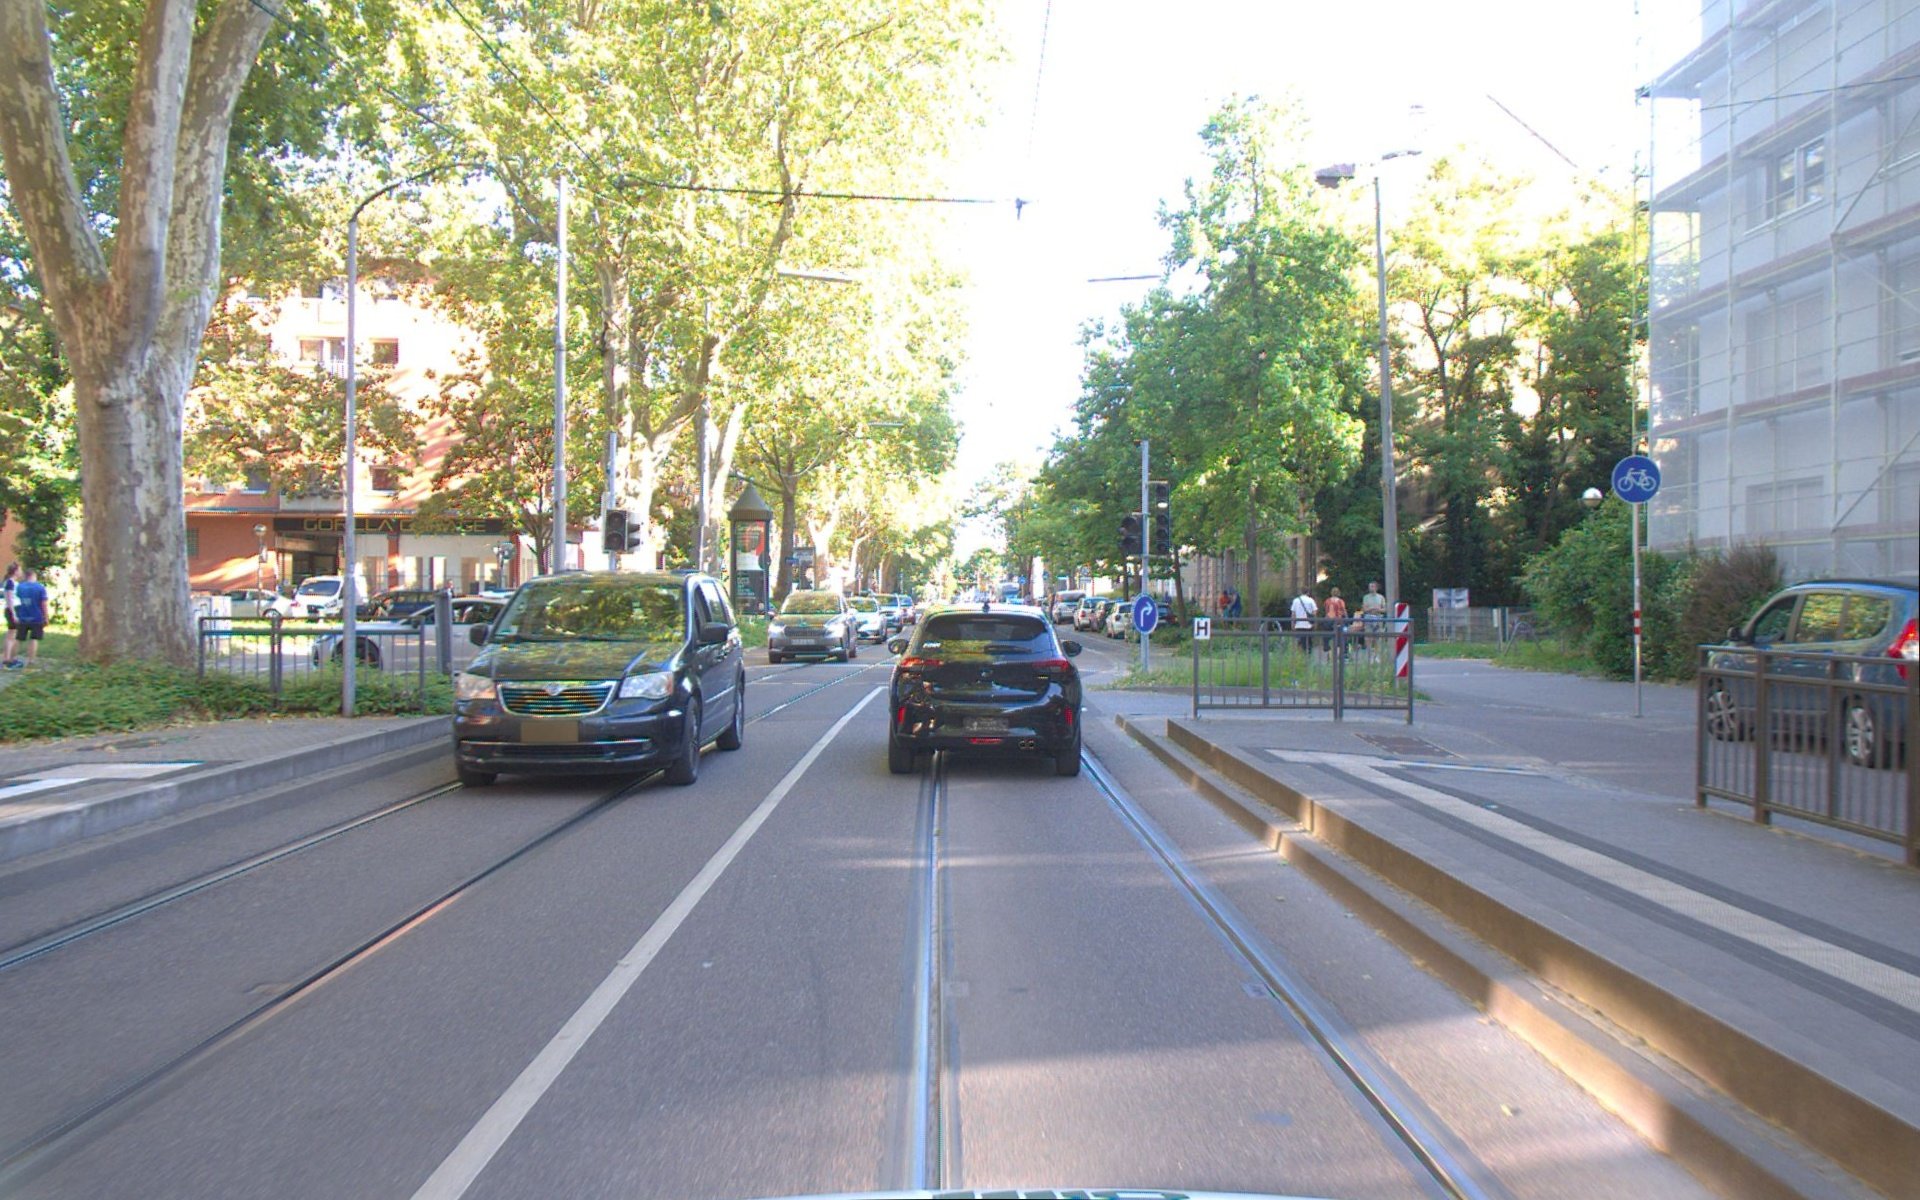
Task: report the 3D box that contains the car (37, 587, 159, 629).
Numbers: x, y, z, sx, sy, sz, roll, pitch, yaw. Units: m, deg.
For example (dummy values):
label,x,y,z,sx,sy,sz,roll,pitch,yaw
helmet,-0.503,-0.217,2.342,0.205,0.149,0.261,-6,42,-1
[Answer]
label,x,y,z,sx,sy,sz,roll,pitch,yaw
car,-31.996,0.294,61.463,3.636,1.475,1.686,1,0,-6

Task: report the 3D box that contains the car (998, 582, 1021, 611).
label,x,y,z,sx,sy,sz,roll,pitch,yaw
car,4.928,-0.403,164.402,2.043,2.820,4.697,-1,1,-1

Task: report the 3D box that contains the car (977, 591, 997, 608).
label,x,y,z,sx,sy,sz,roll,pitch,yaw
car,3.207,-0.058,199.754,2.208,1.873,5.530,-1,0,-1

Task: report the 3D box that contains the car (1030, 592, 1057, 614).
label,x,y,z,sx,sy,sz,roll,pitch,yaw
car,6.103,0.215,120.948,1.668,1.448,3.977,-3,0,-1

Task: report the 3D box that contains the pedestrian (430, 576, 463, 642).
label,x,y,z,sx,sy,sz,roll,pitch,yaw
pedestrian,-14.605,0.251,47.026,0.630,1.841,0.752,1,0,5

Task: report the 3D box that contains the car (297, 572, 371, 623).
label,x,y,z,sx,sy,sz,roll,pitch,yaw
car,-26.315,-0.121,69.720,1.957,2.038,4.909,1,0,-10

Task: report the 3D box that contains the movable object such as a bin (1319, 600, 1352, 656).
label,x,y,z,sx,sy,sz,roll,pitch,yaw
movable object such as a bin,8.505,0.631,37.512,0.625,1.223,1.306,-2,0,10

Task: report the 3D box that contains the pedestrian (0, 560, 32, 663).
label,x,y,z,sx,sy,sz,roll,pitch,yaw
pedestrian,-16.125,0.193,28.144,0.526,1.735,0.586,1,0,-32

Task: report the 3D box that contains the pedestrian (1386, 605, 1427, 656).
label,x,y,z,sx,sy,sz,roll,pitch,yaw
pedestrian,10.179,0.697,37.729,0.662,1.138,0.658,1,0,-11

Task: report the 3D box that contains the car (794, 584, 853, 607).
label,x,y,z,sx,sy,sz,roll,pitch,yaw
car,-9.939,-0.336,120.790,4.214,1.635,1.925,1,0,-4

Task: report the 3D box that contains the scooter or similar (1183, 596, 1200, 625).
label,x,y,z,sx,sy,sz,roll,pitch,yaw
scooter or similar,10.337,0.458,73.828,0.564,1.268,1.335,1,0,0

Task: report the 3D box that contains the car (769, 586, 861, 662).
label,x,y,z,sx,sy,sz,roll,pitch,yaw
car,-3.371,0.534,39.179,1.869,1.666,4.319,-1,0,-1

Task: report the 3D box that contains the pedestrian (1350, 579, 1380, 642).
label,x,y,z,sx,sy,sz,roll,pitch,yaw
pedestrian,11.455,0.303,46.749,0.607,1.756,0.552,1,0,-15

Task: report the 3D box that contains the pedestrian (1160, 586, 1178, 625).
label,x,y,z,sx,sy,sz,roll,pitch,yaw
pedestrian,10.064,0.261,79.600,0.711,1.824,0.600,1,0,23

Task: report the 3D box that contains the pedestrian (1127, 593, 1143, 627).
label,x,y,z,sx,sy,sz,roll,pitch,yaw
pedestrian,8.805,0.508,83.358,0.711,1.722,0.957,1,0,1

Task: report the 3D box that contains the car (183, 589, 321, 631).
label,x,y,z,sx,sy,sz,roll,pitch,yaw
car,-26.444,0.361,61.915,4.385,1.475,1.820,1,0,-9

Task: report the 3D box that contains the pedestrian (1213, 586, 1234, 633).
label,x,y,z,sx,sy,sz,roll,pitch,yaw
pedestrian,10.224,0.363,64.232,0.587,1.824,0.727,1,0,27

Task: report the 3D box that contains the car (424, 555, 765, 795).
label,x,y,z,sx,sy,sz,roll,pitch,yaw
car,-3.008,0.561,14.832,1.953,1.746,5.142,1,0,-1

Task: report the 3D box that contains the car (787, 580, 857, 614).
label,x,y,z,sx,sy,sz,roll,pitch,yaw
car,-9.811,-0.221,117.820,4.934,2.299,2.084,1,0,-4

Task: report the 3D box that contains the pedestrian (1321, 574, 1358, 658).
label,x,y,z,sx,sy,sz,roll,pitch,yaw
pedestrian,8.354,0.346,36.447,0.710,1.824,0.969,-2,0,10

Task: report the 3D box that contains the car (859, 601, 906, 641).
label,x,y,z,sx,sy,sz,roll,pitch,yaw
car,-3.236,0.868,69.704,1.778,1.596,4.115,-1,0,-1

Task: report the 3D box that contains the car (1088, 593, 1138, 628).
label,x,y,z,sx,sy,sz,roll,pitch,yaw
car,7.066,0.482,76.886,1.845,1.492,4.593,-2,0,0

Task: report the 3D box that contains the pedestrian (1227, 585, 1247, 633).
label,x,y,z,sx,sy,sz,roll,pitch,yaw
pedestrian,10.635,0.349,63.524,0.586,1.824,0.728,1,0,-3

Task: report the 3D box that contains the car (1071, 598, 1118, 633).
label,x,y,z,sx,sy,sz,roll,pitch,yaw
car,6.621,0.736,81.588,1.846,1.595,4.241,-2,0,-1

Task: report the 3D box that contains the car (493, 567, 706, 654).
label,x,y,z,sx,sy,sz,roll,pitch,yaw
car,-8.239,0.239,38.154,4.479,1.866,1.938,1,0,-2

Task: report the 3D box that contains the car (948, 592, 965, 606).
label,x,y,z,sx,sy,sz,roll,pitch,yaw
car,-0.451,-0.099,228.237,2.208,1.873,5.530,-1,0,-1

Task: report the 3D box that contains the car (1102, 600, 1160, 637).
label,x,y,z,sx,sy,sz,roll,pitch,yaw
car,6.938,0.734,67.582,1.846,1.391,4.106,-2,0,-1

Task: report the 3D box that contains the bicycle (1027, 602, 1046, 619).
label,x,y,z,sx,sy,sz,roll,pitch,yaw
bicycle,4.742,0.651,103.147,0.948,1.016,2.582,1,0,-2

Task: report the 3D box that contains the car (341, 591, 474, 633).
label,x,y,z,sx,sy,sz,roll,pitch,yaw
car,-20.931,0.446,62.799,4.440,1.515,1.858,1,0,-7

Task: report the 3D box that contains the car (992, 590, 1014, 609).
label,x,y,z,sx,sy,sz,roll,pitch,yaw
car,4.619,-0.052,178.159,2.208,1.873,5.530,-1,0,-1

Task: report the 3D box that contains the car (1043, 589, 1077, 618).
label,x,y,z,sx,sy,sz,roll,pitch,yaw
car,6.423,0.225,106.378,1.847,1.797,4.677,0,0,-1

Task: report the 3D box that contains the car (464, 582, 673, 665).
label,x,y,z,sx,sy,sz,roll,pitch,yaw
car,-8.414,0.502,35.820,4.056,1.675,1.901,1,0,-2

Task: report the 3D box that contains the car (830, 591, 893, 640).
label,x,y,z,sx,sy,sz,roll,pitch,yaw
car,-3.148,0.476,53.458,1.739,1.486,4.204,1,0,0

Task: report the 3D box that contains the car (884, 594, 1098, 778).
label,x,y,z,sx,sy,sz,roll,pitch,yaw
car,0.236,0.708,15.549,1.727,1.486,3.950,1,0,-1

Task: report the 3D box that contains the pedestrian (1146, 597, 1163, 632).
label,x,y,z,sx,sy,sz,roll,pitch,yaw
pedestrian,9.768,0.735,83.111,0.711,1.739,0.856,1,0,-2

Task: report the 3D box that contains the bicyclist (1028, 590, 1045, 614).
label,x,y,z,sx,sy,sz,roll,pitch,yaw
bicyclist,4.742,0.126,103.126,0.939,1.525,1.093,1,0,-2

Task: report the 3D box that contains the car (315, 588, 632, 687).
label,x,y,z,sx,sy,sz,roll,pitch,yaw
car,-7.902,0.605,27.273,4.671,1.486,1.953,1,0,-5

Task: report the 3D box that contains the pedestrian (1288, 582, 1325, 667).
label,x,y,z,sx,sy,sz,roll,pitch,yaw
pedestrian,7.615,0.530,36.373,0.710,1.824,0.854,-2,0,10

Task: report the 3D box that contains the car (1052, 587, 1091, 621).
label,x,y,z,sx,sy,sz,roll,pitch,yaw
car,6.510,0.232,97.278,1.846,1.883,4.966,-2,0,-1

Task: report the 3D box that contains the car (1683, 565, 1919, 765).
label,x,y,z,sx,sy,sz,roll,pitch,yaw
car,8.858,0.508,16.080,1.726,1.650,4.442,-2,1,1

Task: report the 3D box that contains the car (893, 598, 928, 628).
label,x,y,z,sx,sy,sz,roll,pitch,yaw
car,-2.639,0.673,87.442,1.628,1.469,3.469,1,0,-5

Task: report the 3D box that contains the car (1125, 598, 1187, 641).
label,x,y,z,sx,sy,sz,roll,pitch,yaw
car,7.157,0.696,60.766,1.639,1.437,3.841,-2,0,-2

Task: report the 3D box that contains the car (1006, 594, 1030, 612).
label,x,y,z,sx,sy,sz,roll,pitch,yaw
car,5.142,0.245,147.105,1.846,1.459,4.529,-2,0,-1

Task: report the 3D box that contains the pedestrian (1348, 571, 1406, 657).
label,x,y,z,sx,sy,sz,roll,pitch,yaw
pedestrian,9.501,0.315,37.682,0.854,1.918,0.993,1,0,-19

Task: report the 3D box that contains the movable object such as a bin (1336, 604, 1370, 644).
label,x,y,z,sx,sy,sz,roll,pitch,yaw
movable object such as a bin,11.324,0.689,47.655,0.653,1.146,0.955,1,0,-8

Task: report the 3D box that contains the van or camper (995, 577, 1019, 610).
label,x,y,z,sx,sy,sz,roll,pitch,yaw
van or camper,4.813,-0.681,170.966,2.208,3.272,5.530,-1,0,-1

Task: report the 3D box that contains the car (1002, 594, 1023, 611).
label,x,y,z,sx,sy,sz,roll,pitch,yaw
car,4.976,0.268,157.197,1.767,1.459,3.999,-1,-1,-1

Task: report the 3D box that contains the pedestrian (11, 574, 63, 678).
label,x,y,z,sx,sy,sz,roll,pitch,yaw
pedestrian,-15.242,0.426,27.319,0.686,1.688,0.557,1,0,-27
